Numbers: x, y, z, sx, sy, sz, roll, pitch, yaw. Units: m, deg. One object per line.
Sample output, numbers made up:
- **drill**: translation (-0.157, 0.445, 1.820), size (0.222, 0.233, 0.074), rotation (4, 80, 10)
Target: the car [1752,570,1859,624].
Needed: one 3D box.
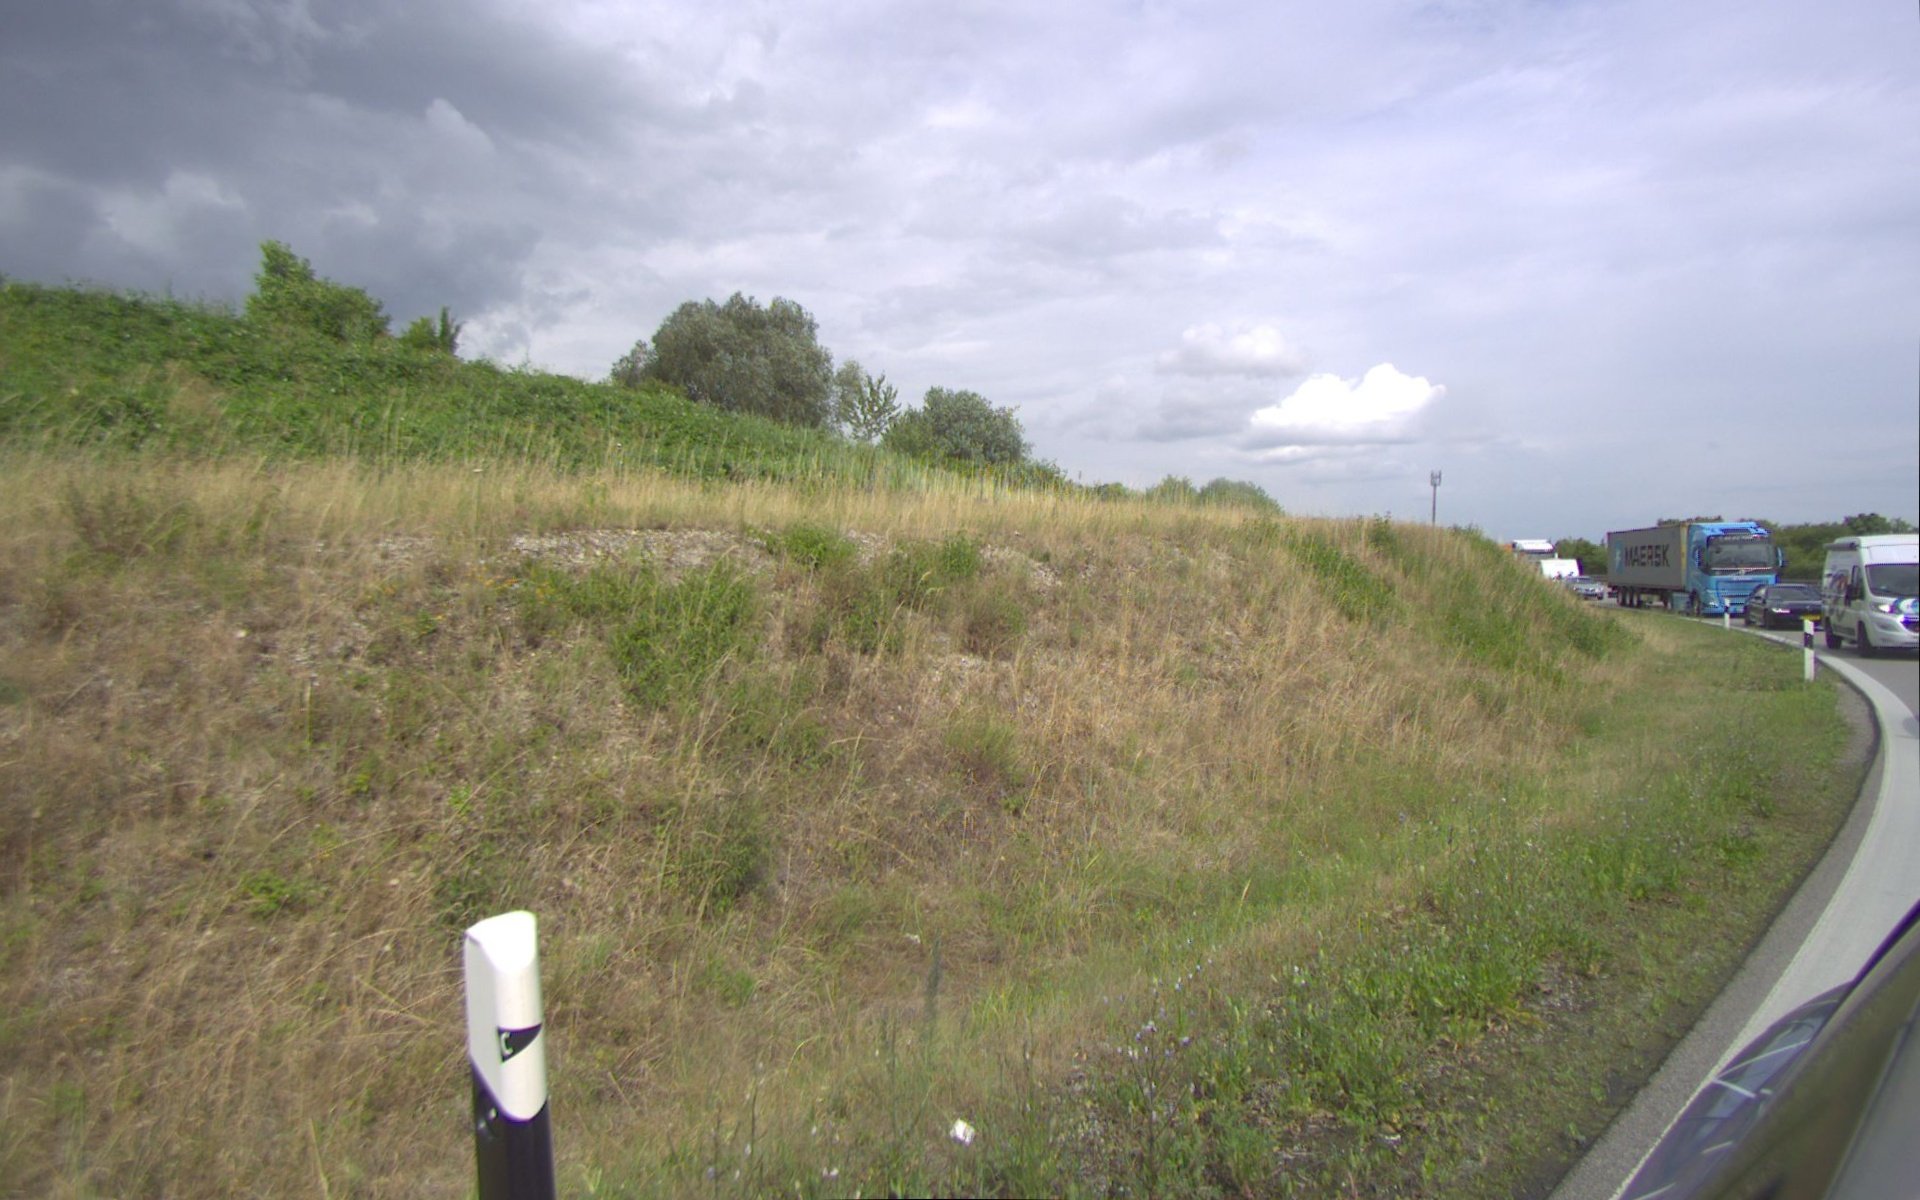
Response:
- **car**: translation (27.897, -0.157, 33.519), size (1.983, 1.638, 3.960), rotation (1, 2, 29)

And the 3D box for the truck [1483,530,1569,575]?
- **truck**: translation (44.153, -3.601, 79.421), size (3.080, 3.279, 11.113), rotation (0, 2, 14)

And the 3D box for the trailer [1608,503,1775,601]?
- **trailer**: translation (35.374, -2.134, 49.629), size (3.234, 4.214, 11.943), rotation (0, 0, 19)

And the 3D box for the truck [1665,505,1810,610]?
- **truck**: translation (33.008, -1.709, 43.317), size (3.142, 4.124, 6.600), rotation (0, 0, 21)

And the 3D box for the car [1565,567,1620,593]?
- **car**: translation (39.054, -1.263, 62.591), size (1.974, 1.548, 3.977), rotation (0, 2, 19)

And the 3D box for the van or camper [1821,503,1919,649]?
- **van or camper**: translation (21.396, -0.513, 22.552), size (2.379, 2.945, 5.659), rotation (0, 0, 30)

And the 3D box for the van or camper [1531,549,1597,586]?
- **van or camper**: translation (40.739, -2.230, 68.450), size (2.519, 2.237, 5.684), rotation (-1, 4, 17)
